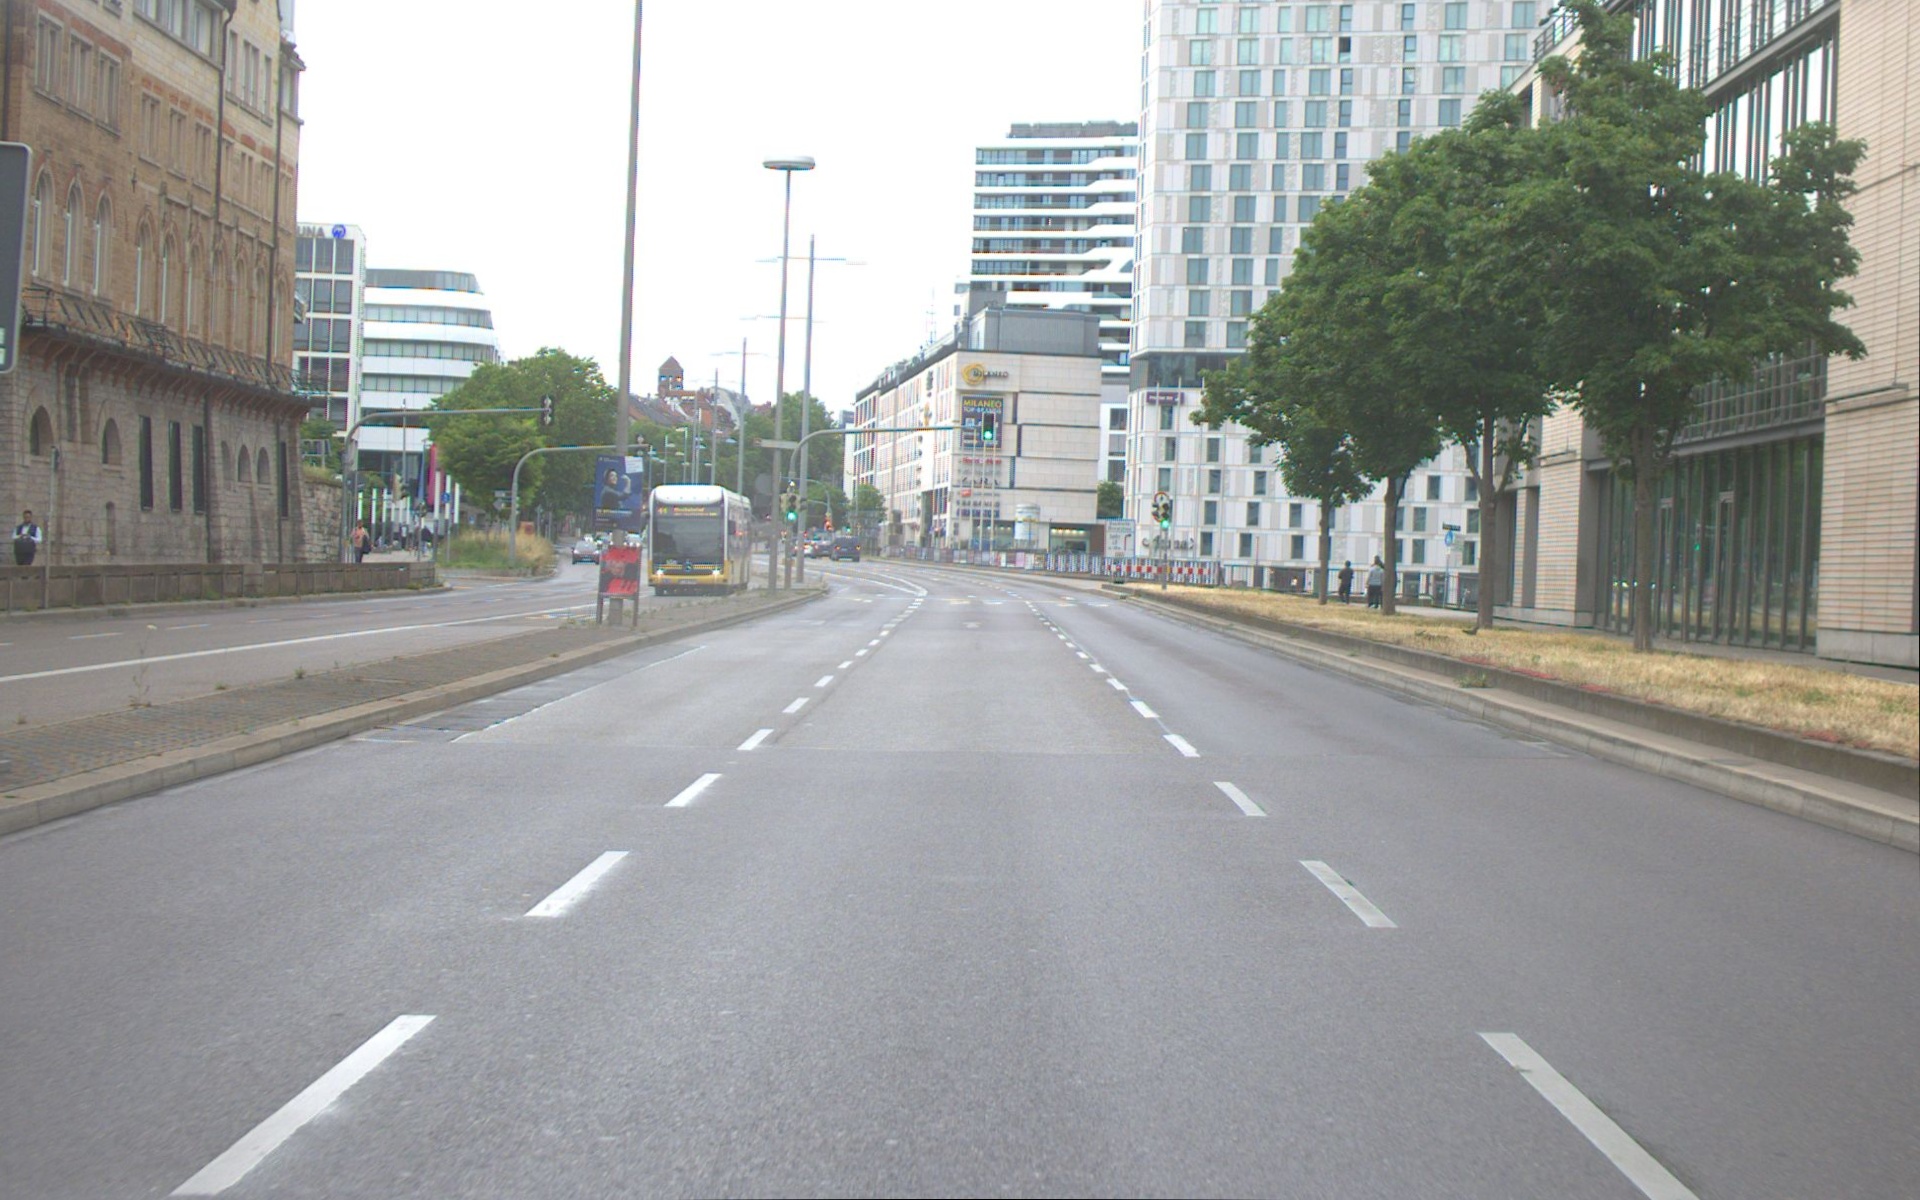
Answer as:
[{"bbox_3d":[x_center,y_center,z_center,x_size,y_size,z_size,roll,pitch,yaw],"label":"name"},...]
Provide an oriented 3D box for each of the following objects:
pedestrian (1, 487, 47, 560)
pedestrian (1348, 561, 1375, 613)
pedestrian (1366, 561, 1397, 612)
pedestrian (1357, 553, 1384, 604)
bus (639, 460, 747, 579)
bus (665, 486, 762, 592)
[{"bbox_3d":[-19.247,-1.585,70.703,0.754,1.472,0.714,1,2,0],"label":"pedestrian"},{"bbox_3d":[12.459,-0.415,106.711,0.550,1.572,0.669,2,3,35],"label":"pedestrian"},{"bbox_3d":[13.141,-0.418,107.178,0.670,1.572,0.667,3,3,38],"label":"pedestrian"},{"bbox_3d":[13.034,-0.686,109.196,0.550,1.572,0.669,2,3,35],"label":"pedestrian"},{"bbox_3d":[-8.559,-2.514,111.125,2.698,3.547,10.093,1,0,0],"label":"bus"},{"bbox_3d":[-8.670,-2.187,121.750,2.698,3.547,10.094,1,1,0],"label":"bus"}]
